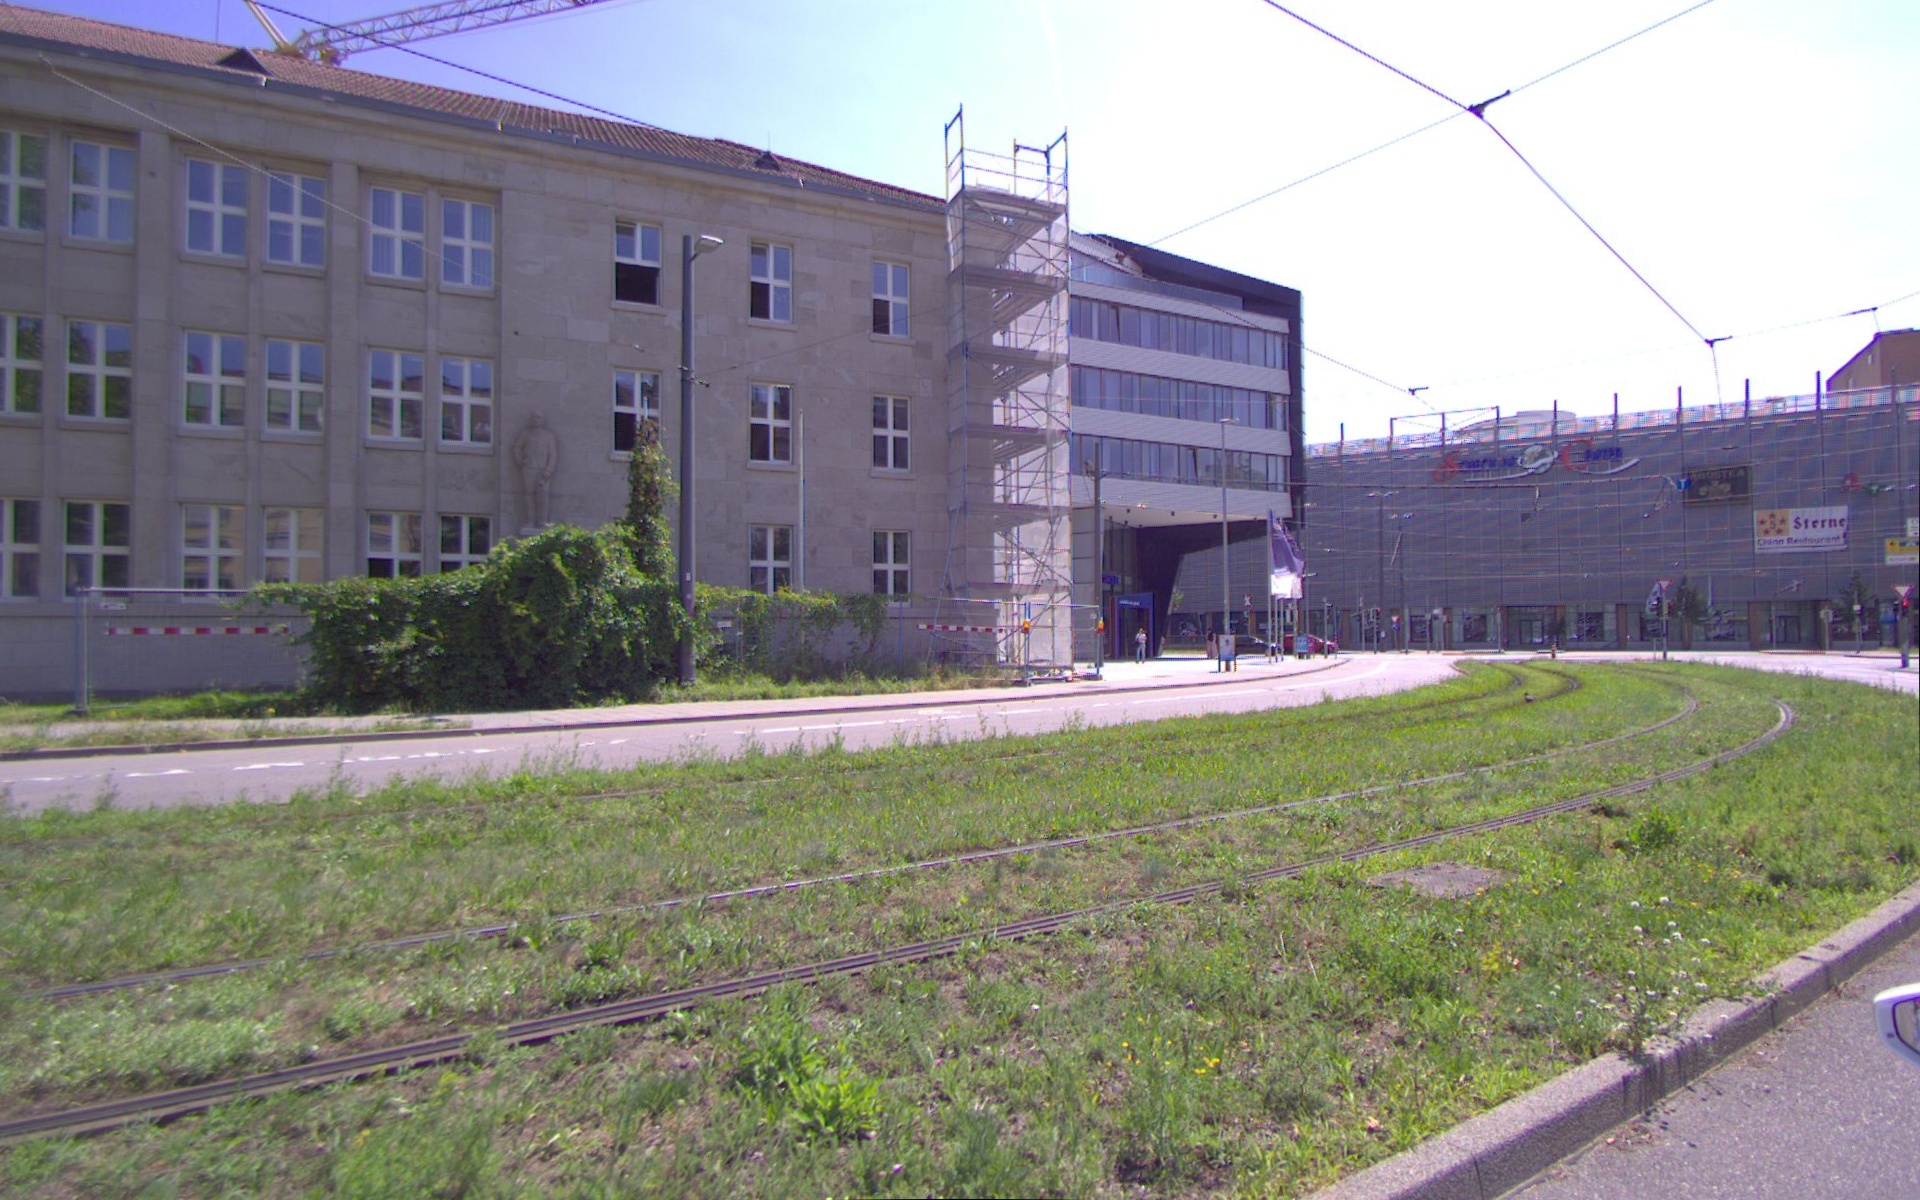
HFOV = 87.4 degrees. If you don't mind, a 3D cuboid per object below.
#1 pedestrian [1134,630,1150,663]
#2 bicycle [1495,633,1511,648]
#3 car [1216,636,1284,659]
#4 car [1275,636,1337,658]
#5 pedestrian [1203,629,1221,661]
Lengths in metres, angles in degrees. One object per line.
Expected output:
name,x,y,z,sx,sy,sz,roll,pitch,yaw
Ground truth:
pedestrian,8.416,2.138,46.378,0.579,1.538,0.580,0,-1,-10
bicycle,53.281,3.946,98.538,1.048,1.408,3.014,-1,-1,35
car,20.524,3.344,71.151,4.453,1.528,1.842,-2,-2,22
car,24.885,3.372,72.279,4.061,1.528,1.841,-1,-1,25
pedestrian,13.325,2.378,53.128,0.734,1.652,0.916,0,-1,4
